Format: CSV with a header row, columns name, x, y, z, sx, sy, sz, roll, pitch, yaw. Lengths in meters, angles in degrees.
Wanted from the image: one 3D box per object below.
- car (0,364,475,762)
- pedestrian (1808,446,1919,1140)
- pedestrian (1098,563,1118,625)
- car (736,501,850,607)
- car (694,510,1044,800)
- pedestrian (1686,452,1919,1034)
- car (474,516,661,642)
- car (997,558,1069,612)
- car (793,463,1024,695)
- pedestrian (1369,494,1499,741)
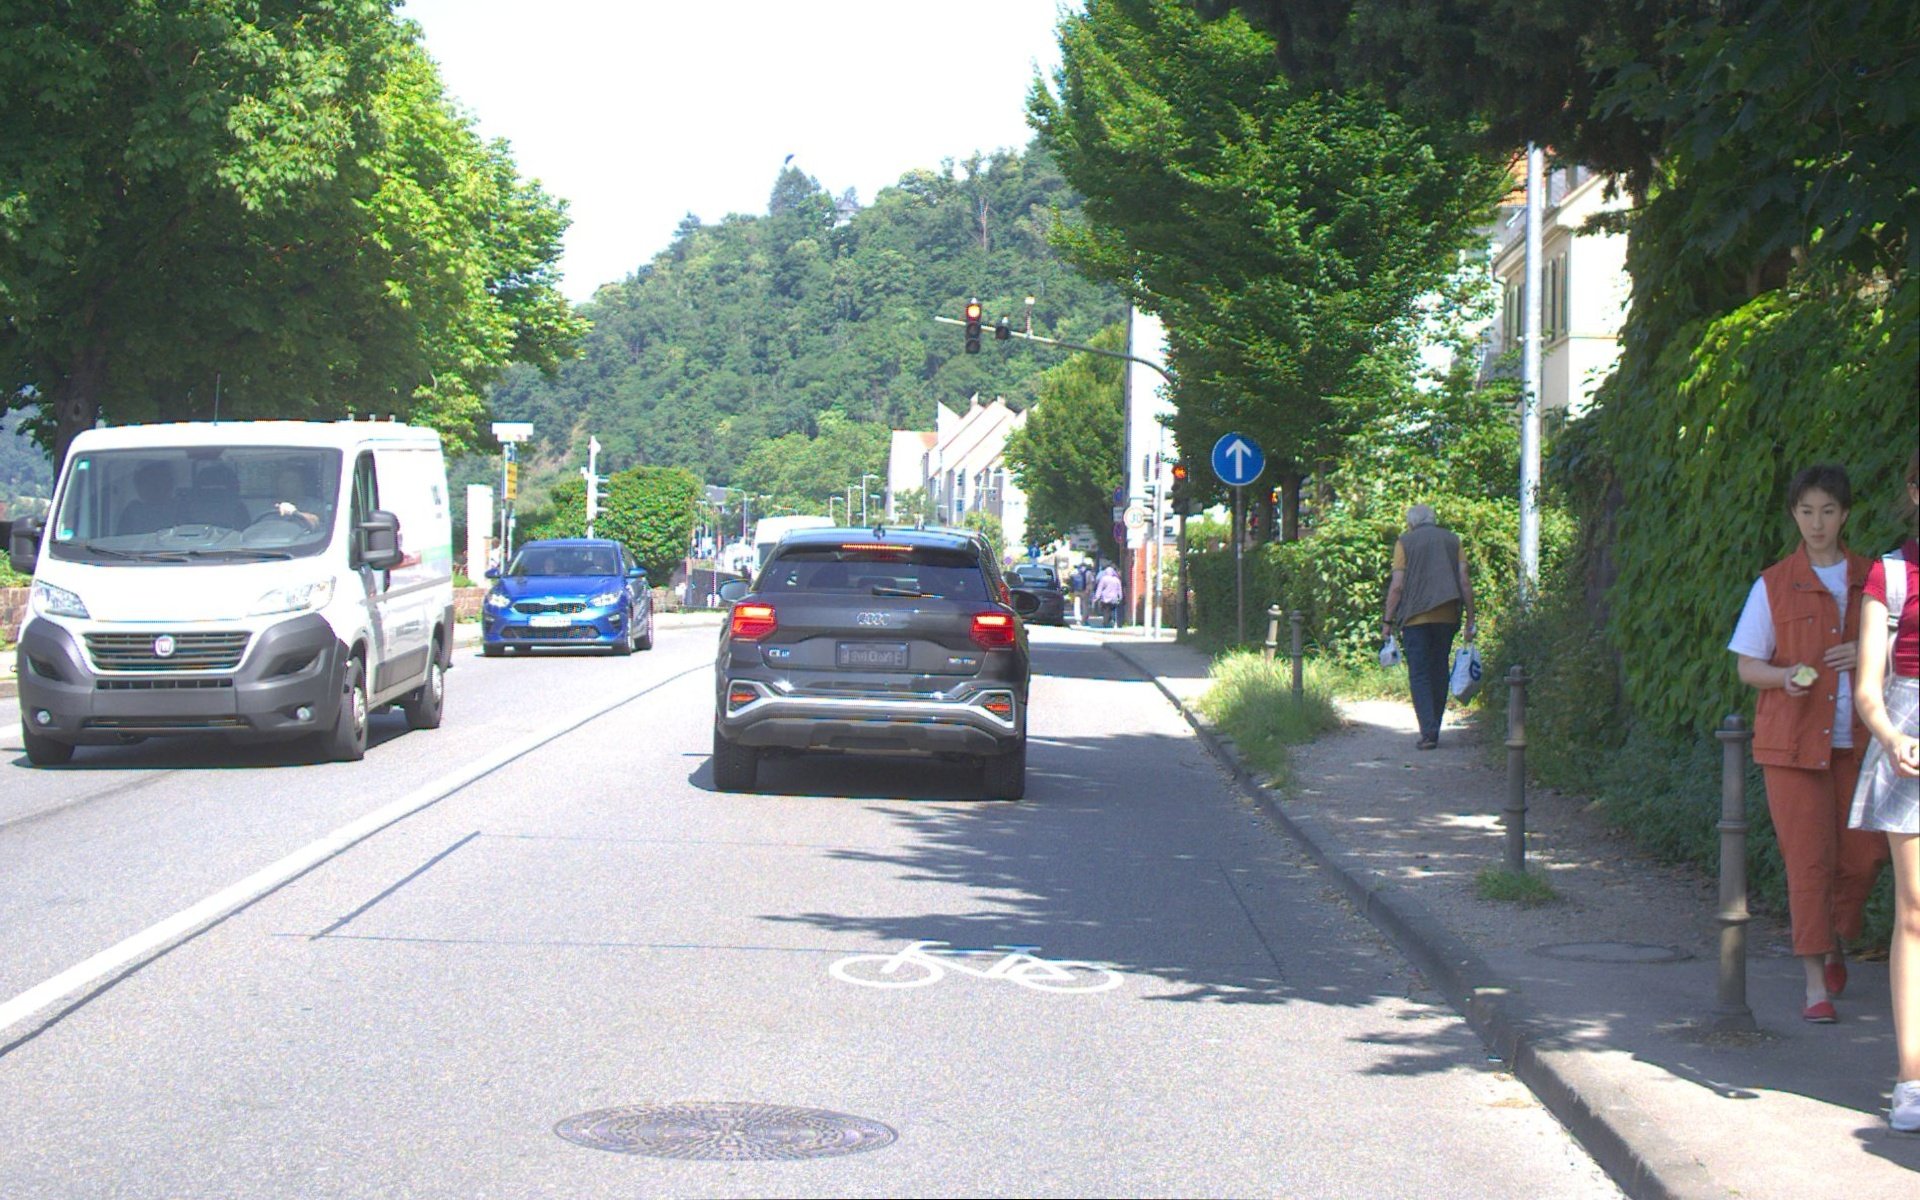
name,x,y,z,sx,sy,sz,roll,pitch,yaw
car,-4.686,-0.302,22.977,2.096,2.294,5.869,1,2,-1
pedestrian,2.339,0.444,8.215,0.455,1.600,0.579,1,1,0
pedestrian,3.728,-0.140,86.617,0.489,1.554,0.461,1,-1,0
car,-4.098,-1.094,85.374,2.494,2.458,5.620,1,-1,0
car,-0.481,0.247,20.699,1.857,1.518,4.000,2,2,0
pedestrian,2.615,0.392,10.101,0.735,1.628,0.920,1,1,0
car,-4.865,-0.237,43.054,1.899,1.484,3.796,1,0,0
car,2.088,-0.414,99.146,1.993,1.448,4.008,1,-1,0
car,-0.446,-0.204,32.096,1.993,2.007,4.000,1,1,0
pedestrian,3.237,0.112,23.542,0.728,1.644,0.882,-2,1,0
